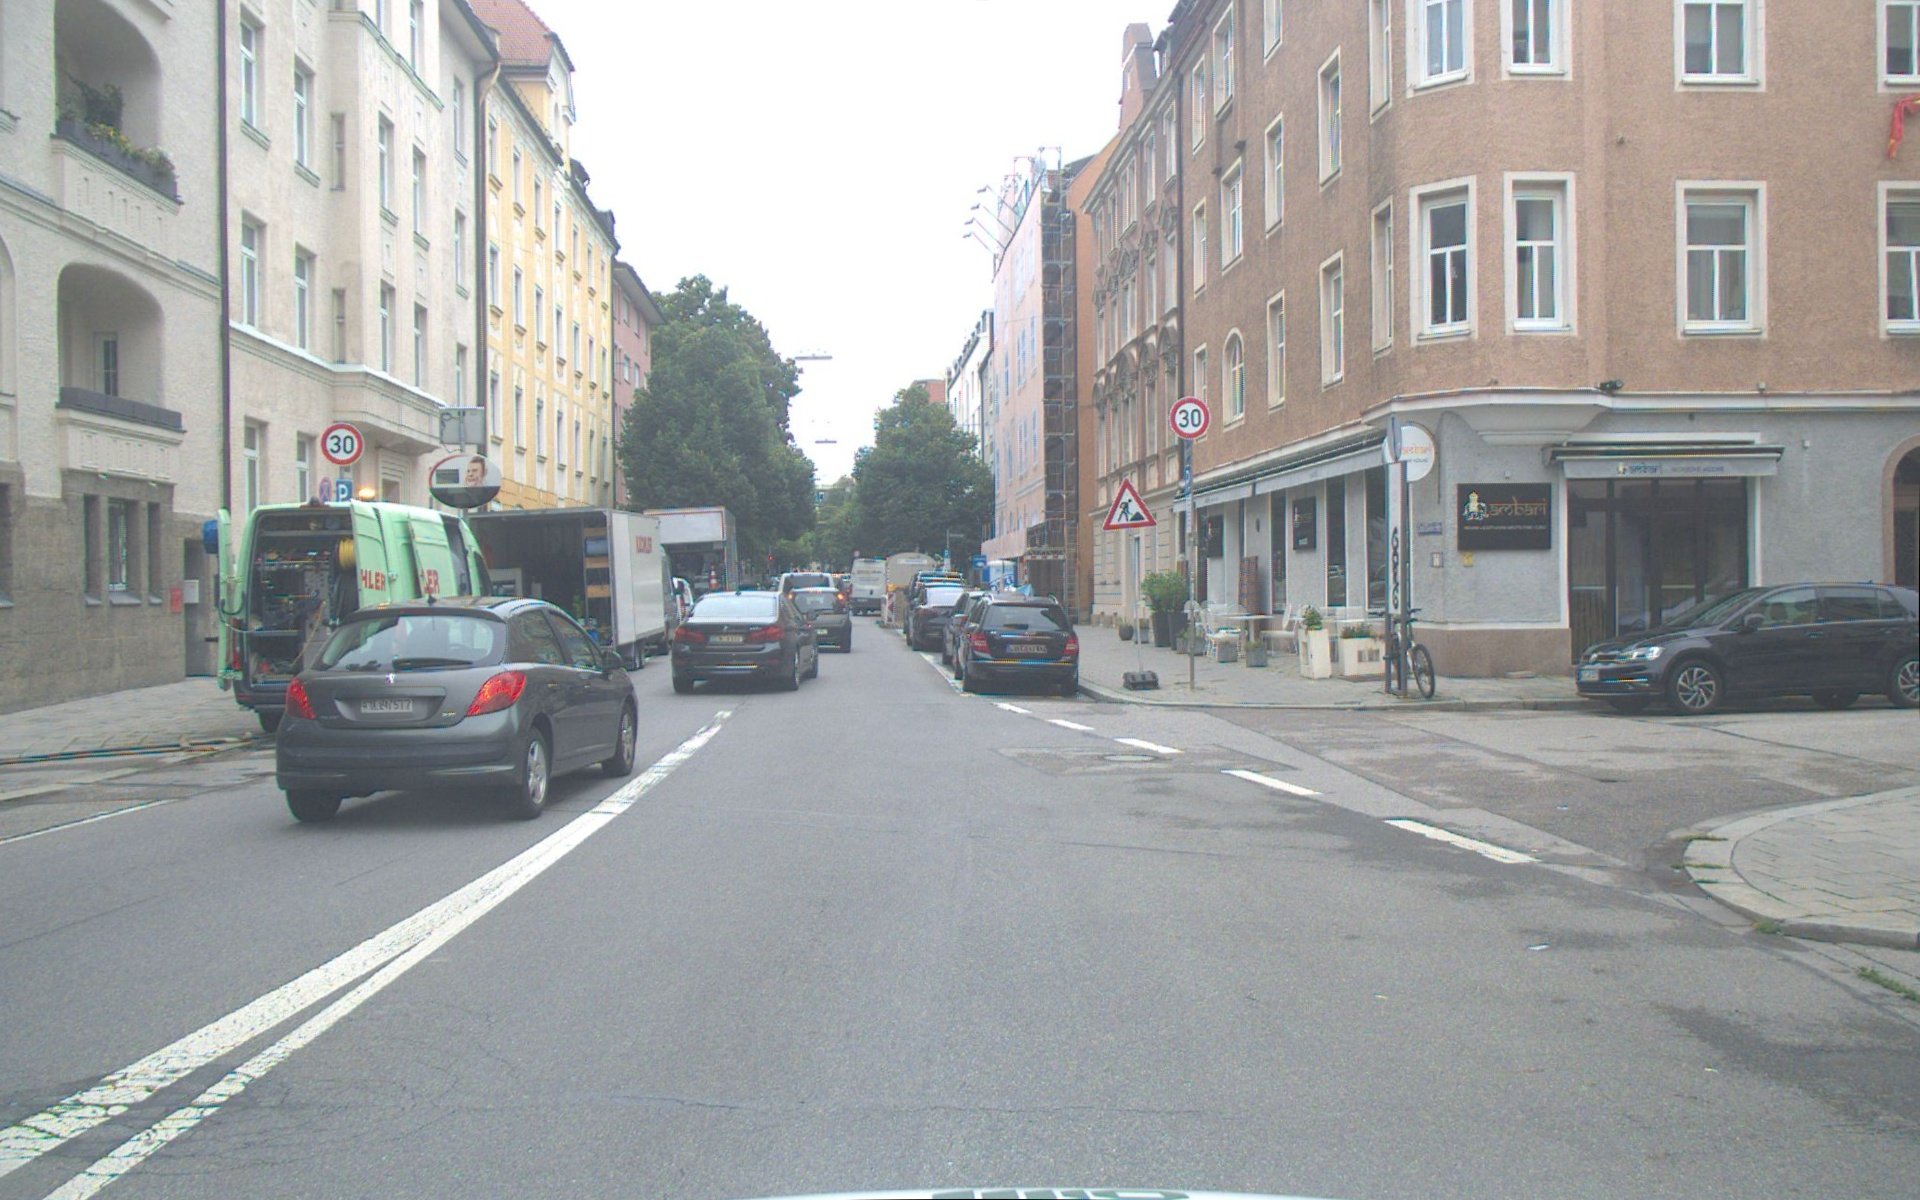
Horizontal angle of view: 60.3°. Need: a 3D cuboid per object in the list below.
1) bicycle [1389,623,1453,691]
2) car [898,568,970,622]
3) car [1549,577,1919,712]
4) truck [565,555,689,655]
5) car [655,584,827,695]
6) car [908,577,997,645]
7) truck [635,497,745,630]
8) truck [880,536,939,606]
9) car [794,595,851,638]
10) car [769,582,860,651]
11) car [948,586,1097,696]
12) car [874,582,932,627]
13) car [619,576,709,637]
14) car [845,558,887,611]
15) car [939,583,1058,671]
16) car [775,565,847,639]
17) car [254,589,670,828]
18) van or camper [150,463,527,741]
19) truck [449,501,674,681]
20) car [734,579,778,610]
[{"bbox_3d":[5.936,0.724,21.345,0.447,0.819,1.326,0,0,-1],"label":"bicycle"},{"bbox_3d":[-0.794,-0.189,48.130,1.950,1.454,4.138,-1,1,-3],"label":"car"},{"bbox_3d":[9.276,0.509,19.304,4.086,1.454,1.924,-1,-2,-3],"label":"car"},{"bbox_3d":[-7.738,0.091,38.933,2.241,2.209,4.803,0,0,-4],"label":"truck"},{"bbox_3d":[-3.253,0.529,25.508,1.949,1.454,4.906,-1,1,0],"label":"car"},{"bbox_3d":[-0.232,0.237,40.272,1.808,1.454,4.303,2,1,-5],"label":"car"},{"bbox_3d":[-8.685,-1.144,53.916,2.953,4.021,6.988,0,0,-5],"label":"truck"},{"bbox_3d":[-2.313,-1.270,74.017,2.442,3.025,5.323,0,0,-4],"label":"truck"},{"bbox_3d":[-5.026,0.580,60.945,1.950,1.454,4.138,-1,1,-3],"label":"car"},{"bbox_3d":[-3.349,0.334,38.722,1.950,1.454,4.138,-1,1,-3],"label":"car"},{"bbox_3d":[0.885,0.575,25.785,1.808,1.454,4.180,2,1,-5],"label":"car"},{"bbox_3d":[-2.025,0.139,57.965,1.950,1.454,4.138,-1,1,-3],"label":"car"},{"bbox_3d":[-8.219,0.160,46.185,1.950,1.639,4.138,0,0,-3],"label":"car"},{"bbox_3d":[-4.572,-0.757,81.012,1.900,2.523,4.781,0,0,-2],"label":"car"},{"bbox_3d":[0.669,0.465,31.526,1.808,1.454,4.137,2,1,-5],"label":"car"},{"bbox_3d":[-4.443,0.024,49.885,1.950,2.111,4.138,-1,1,-3],"label":"car"},{"bbox_3d":[-3.514,0.678,12.503,1.722,1.486,4.076,-1,0,3],"label":"car"},{"bbox_3d":[-7.332,-0.054,20.482,2.548,2.889,6.183,-1,1,-3],"label":"van or camper"},{"bbox_3d":[-7.171,-0.235,30.817,2.718,2.923,7.198,-1,1,-3],"label":"truck"},{"bbox_3d":[-9.929,-0.262,80.659,1.901,1.473,3.863,0,0,-4],"label":"car"}]
